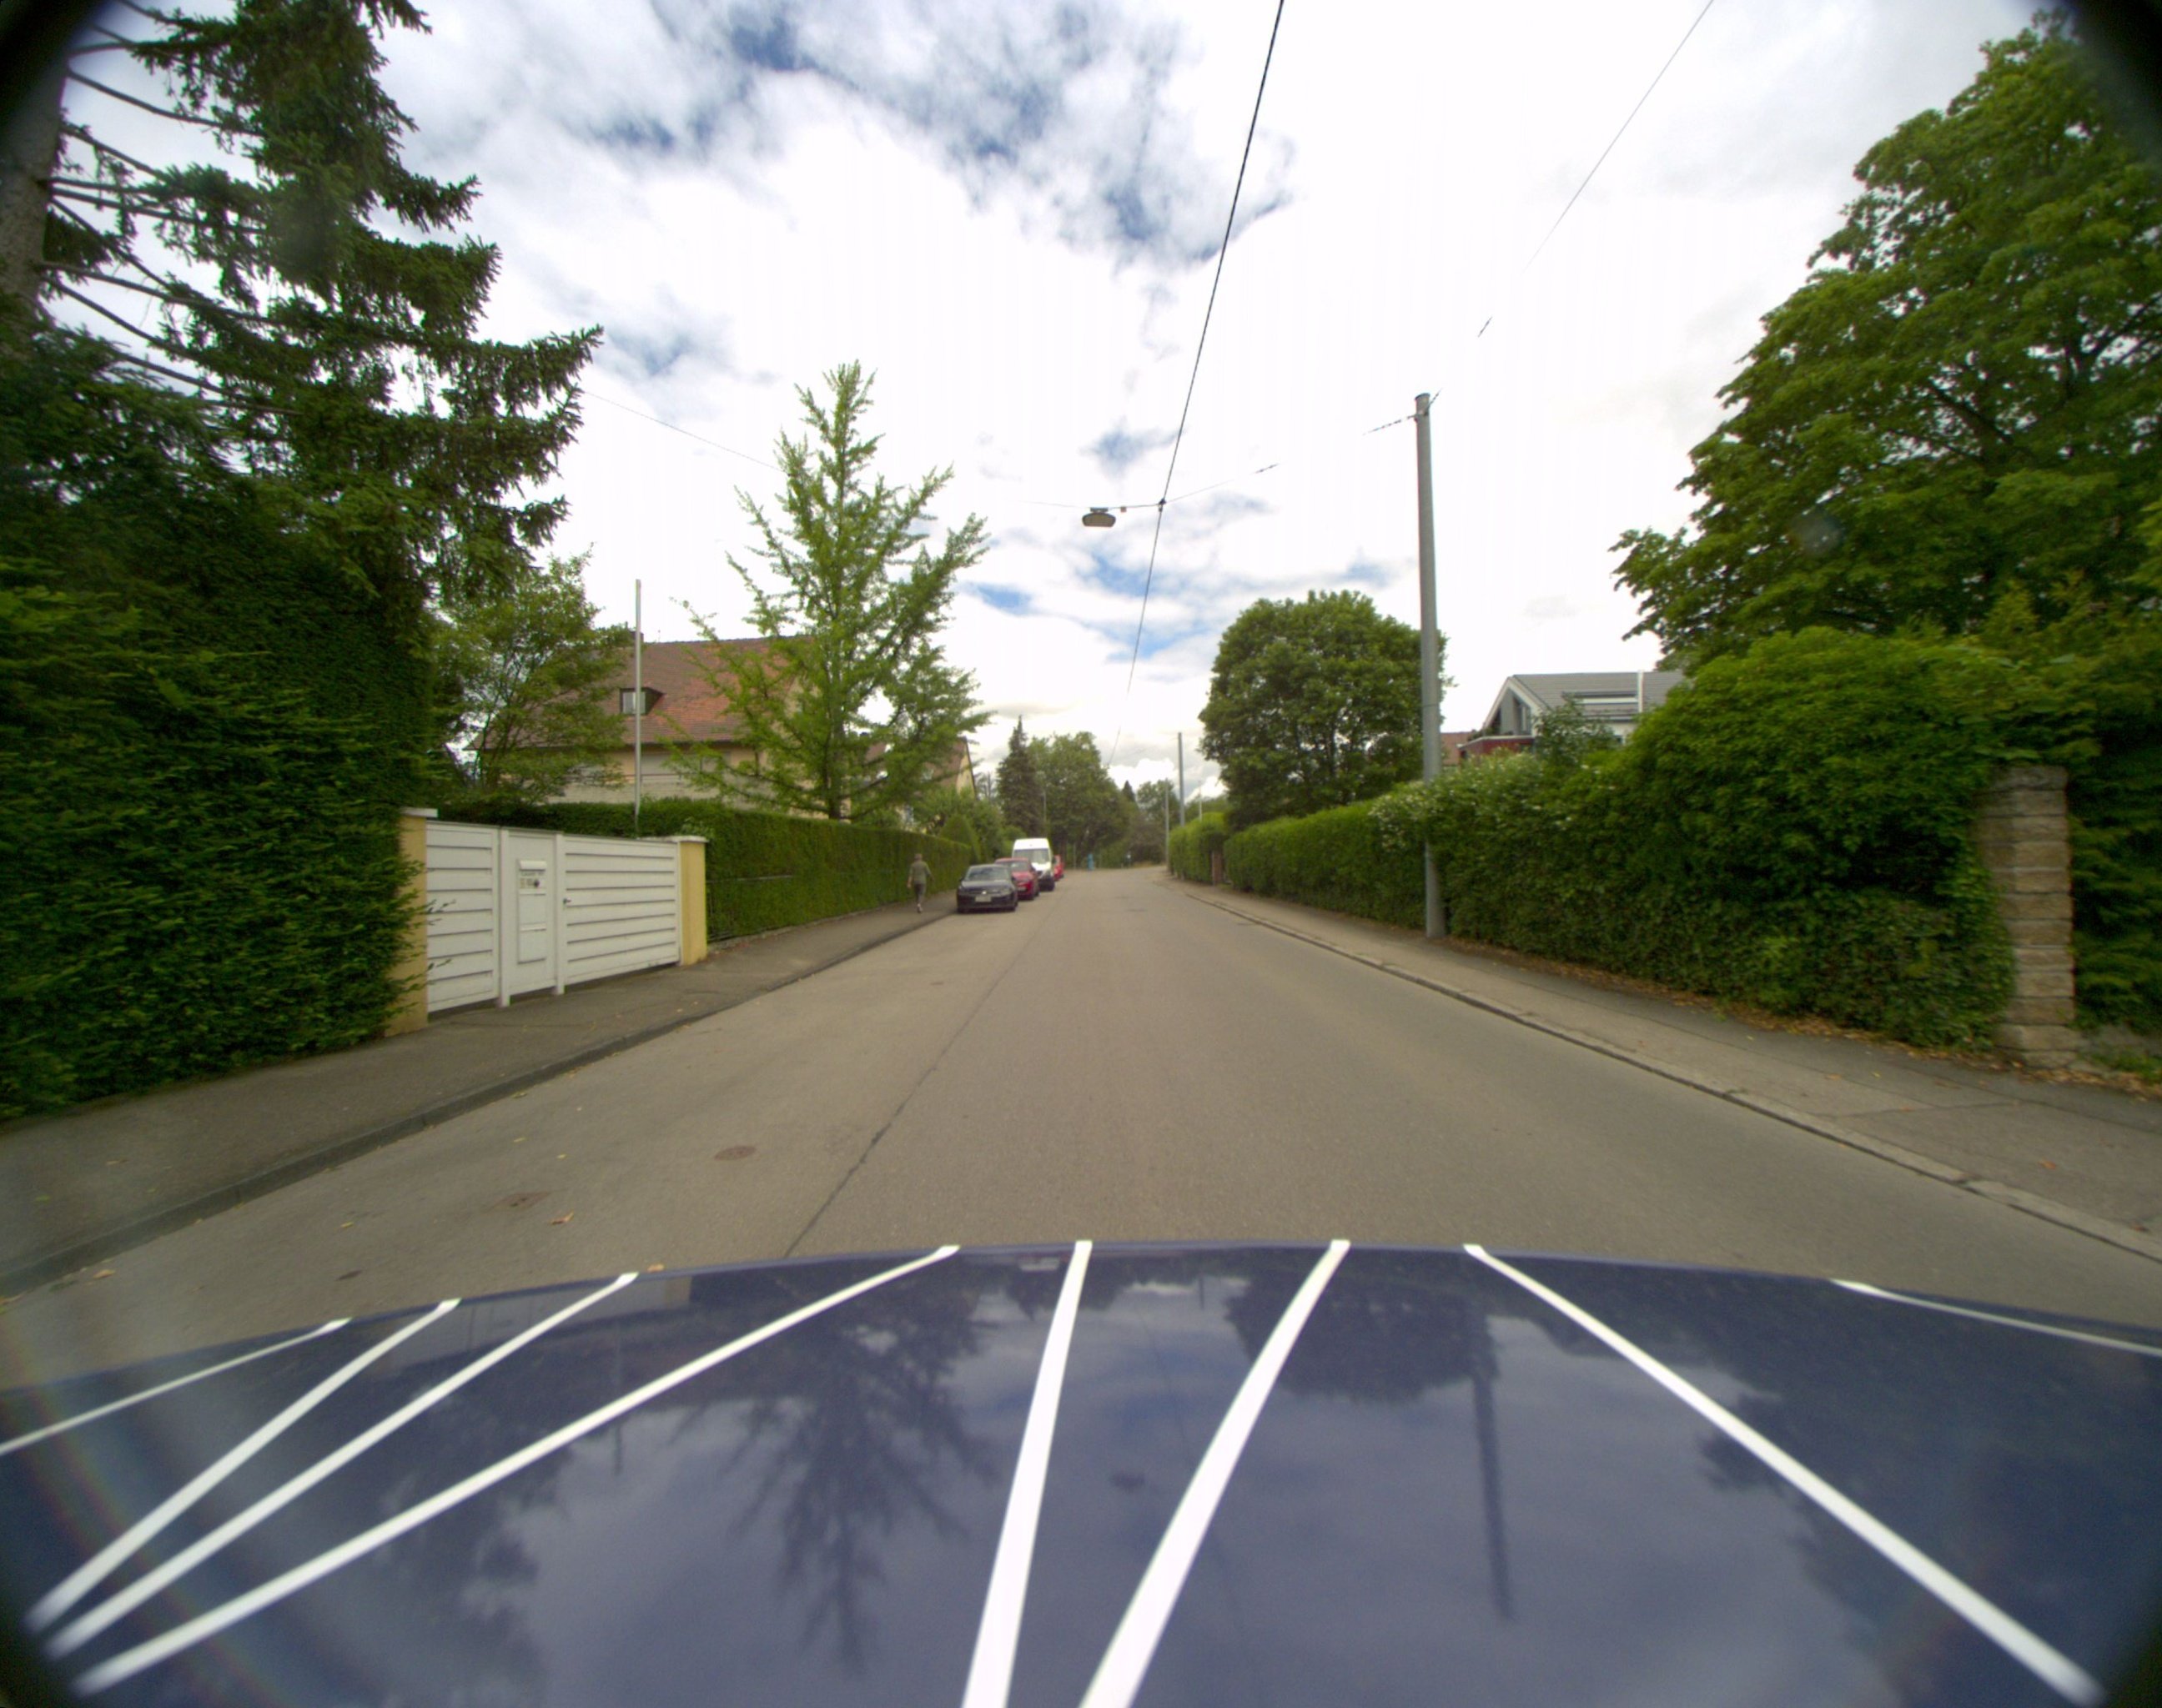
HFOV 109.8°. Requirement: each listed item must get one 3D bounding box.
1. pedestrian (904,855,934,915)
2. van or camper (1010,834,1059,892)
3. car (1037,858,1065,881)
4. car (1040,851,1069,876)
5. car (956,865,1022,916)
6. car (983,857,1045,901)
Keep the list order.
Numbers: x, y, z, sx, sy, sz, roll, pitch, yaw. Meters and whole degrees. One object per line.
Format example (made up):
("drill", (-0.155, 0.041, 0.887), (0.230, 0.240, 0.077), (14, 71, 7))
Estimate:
("pedestrian", (-4.652, 0.880, 21.890), (0.671, 1.688, 0.918), (0, 0, -1))
("van or camper", (-2.244, 0.399, 38.492), (2.046, 2.605, 7.038), (-3, 0, -1))
("car", (-2.056, 1.014, 52.686), (1.704, 1.421, 4.395), (-2, 0, 0))
("car", (-1.977, 0.696, 58.518), (1.771, 1.755, 4.162), (-2, 0, 4))
("car", (-2.801, 1.083, 23.874), (1.683, 1.399, 4.053), (0, 0, -2))
("car", (-2.543, 0.916, 30.013), (1.893, 1.572, 4.765), (0, 0, 1))
